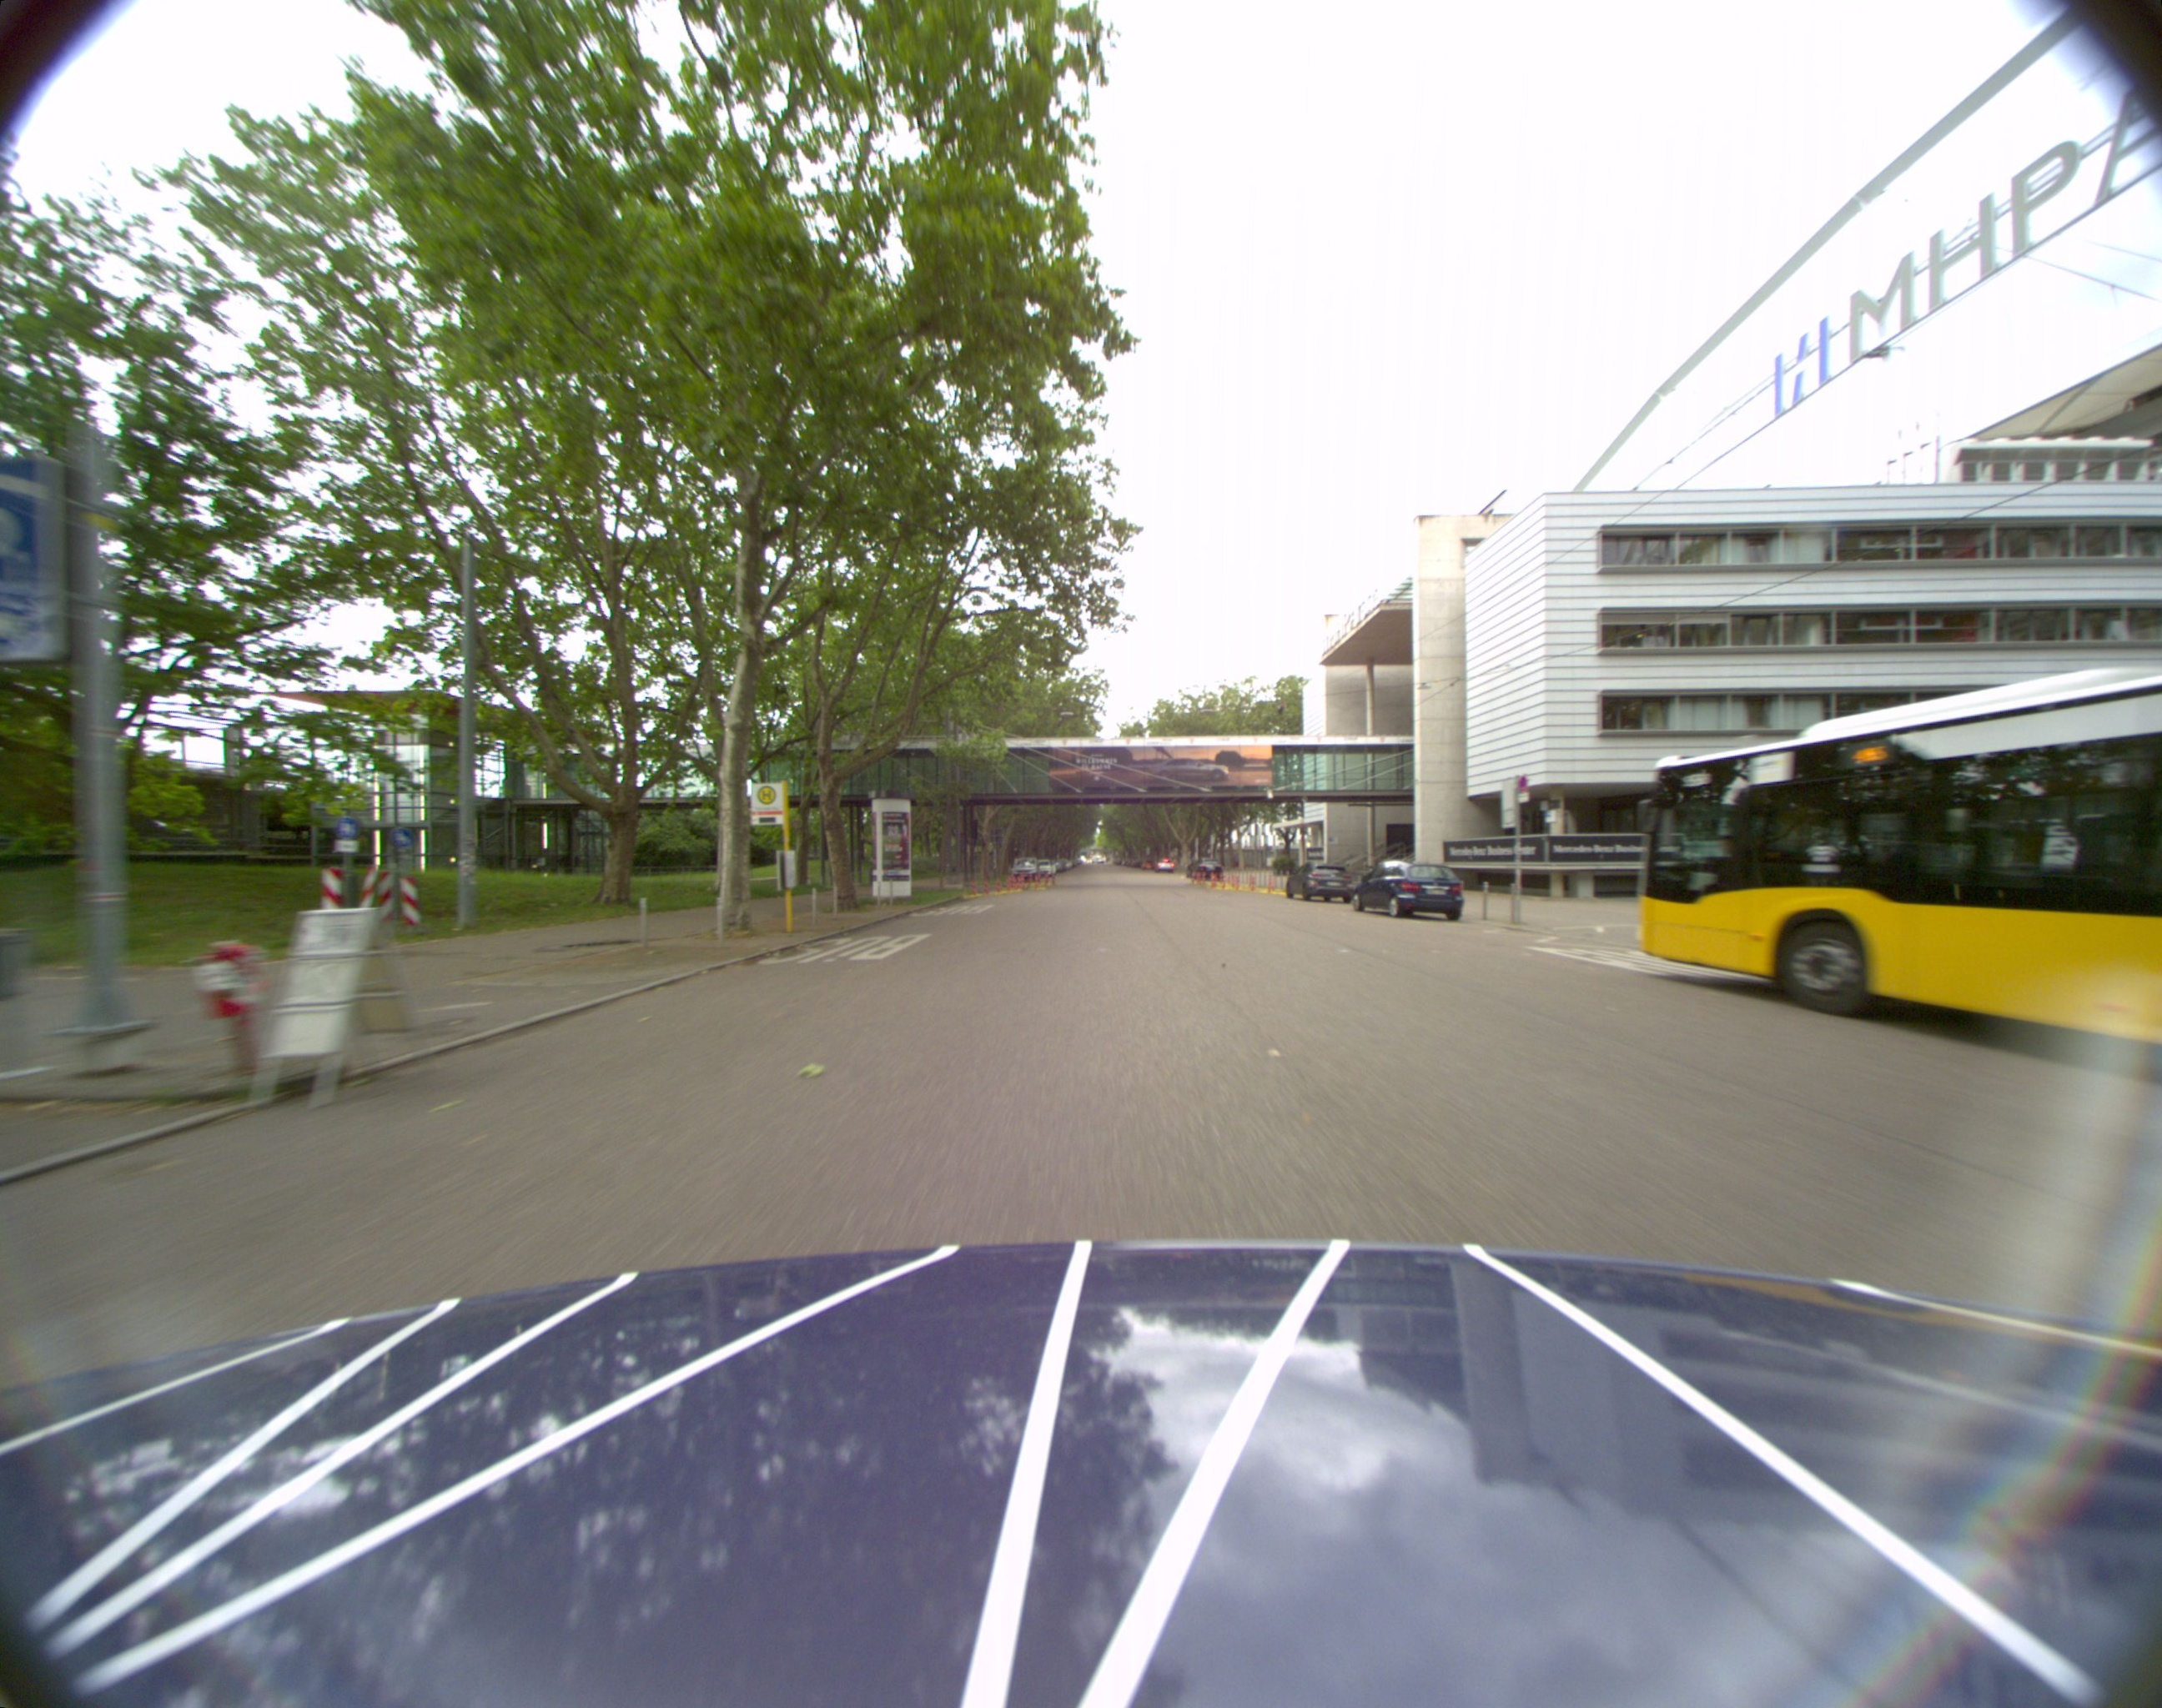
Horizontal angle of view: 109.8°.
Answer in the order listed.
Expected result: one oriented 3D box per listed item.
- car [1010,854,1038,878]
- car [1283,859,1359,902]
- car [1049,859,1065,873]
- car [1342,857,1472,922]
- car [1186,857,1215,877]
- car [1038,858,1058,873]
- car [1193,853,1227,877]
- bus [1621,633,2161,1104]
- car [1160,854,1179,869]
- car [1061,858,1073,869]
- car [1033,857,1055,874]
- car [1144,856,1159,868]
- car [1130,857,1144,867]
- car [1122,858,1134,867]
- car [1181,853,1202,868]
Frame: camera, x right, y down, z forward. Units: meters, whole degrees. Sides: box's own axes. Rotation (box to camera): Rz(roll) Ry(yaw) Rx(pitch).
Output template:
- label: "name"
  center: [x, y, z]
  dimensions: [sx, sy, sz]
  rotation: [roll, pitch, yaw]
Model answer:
- label: "car"
  center: [-4.085, 0.846, 55.340]
  dimensions: [1.757, 1.687, 4.497]
  rotation: [0, 0, -1]
- label: "car"
  center: [9.580, 1.001, 30.621]
  dimensions: [1.758, 1.505, 4.009]
  rotation: [3, 0, 1]
- label: "car"
  center: [-3.006, 1.459, 94.708]
  dimensions: [1.921, 1.561, 4.497]
  rotation: [0, 0, -1]
- label: "car"
  center: [9.274, 0.946, 22.040]
  dimensions: [1.758, 1.557, 4.387]
  rotation: [4, 0, 0]
- label: "car"
  center: [10.054, 1.054, 64.141]
  dimensions: [1.781, 1.461, 4.145]
  rotation: [3, 0, 1]
- label: "car"
  center: [-3.509, 1.218, 80.819]
  dimensions: [1.921, 1.561, 4.497]
  rotation: [0, 0, -1]
- label: "car"
  center: [9.981, 0.835, 59.194]
  dimensions: [1.929, 1.721, 4.233]
  rotation: [3, 0, 1]
- label: "bus"
  center: [8.491, 0.139, 4.113]
  dimensions: [2.657, 3.136, 12.370]
  rotation: [2, 0, 2]
- label: "car"
  center: [10.290, 0.823, 88.138]
  dimensions: [1.757, 1.652, 4.000]
  rotation: [-2, 0, 1]
- label: "car"
  center: [-2.196, 1.513, 120.047]
  dimensions: [1.921, 1.561, 4.497]
  rotation: [0, 0, -1]
- label: "car"
  center: [-3.453, 1.043, 71.875]
  dimensions: [1.921, 1.561, 4.497]
  rotation: [0, 0, -1]
- label: "car"
  center: [10.439, 1.221, 112.638]
  dimensions: [1.757, 1.652, 4.000]
  rotation: [-2, 0, 1]
- label: "car"
  center: [9.646, 1.379, 130.789]
  dimensions: [1.921, 1.561, 4.497]
  rotation: [0, 0, -1]
- label: "car"
  center: [8.786, 1.577, 142.447]
  dimensions: [1.921, 1.561, 4.497]
  rotation: [0, 0, -1]
- label: "car"
  center: [11.463, 0.665, 79.053]
  dimensions: [1.661, 1.461, 3.803]
  rotation: [3, 0, 1]
